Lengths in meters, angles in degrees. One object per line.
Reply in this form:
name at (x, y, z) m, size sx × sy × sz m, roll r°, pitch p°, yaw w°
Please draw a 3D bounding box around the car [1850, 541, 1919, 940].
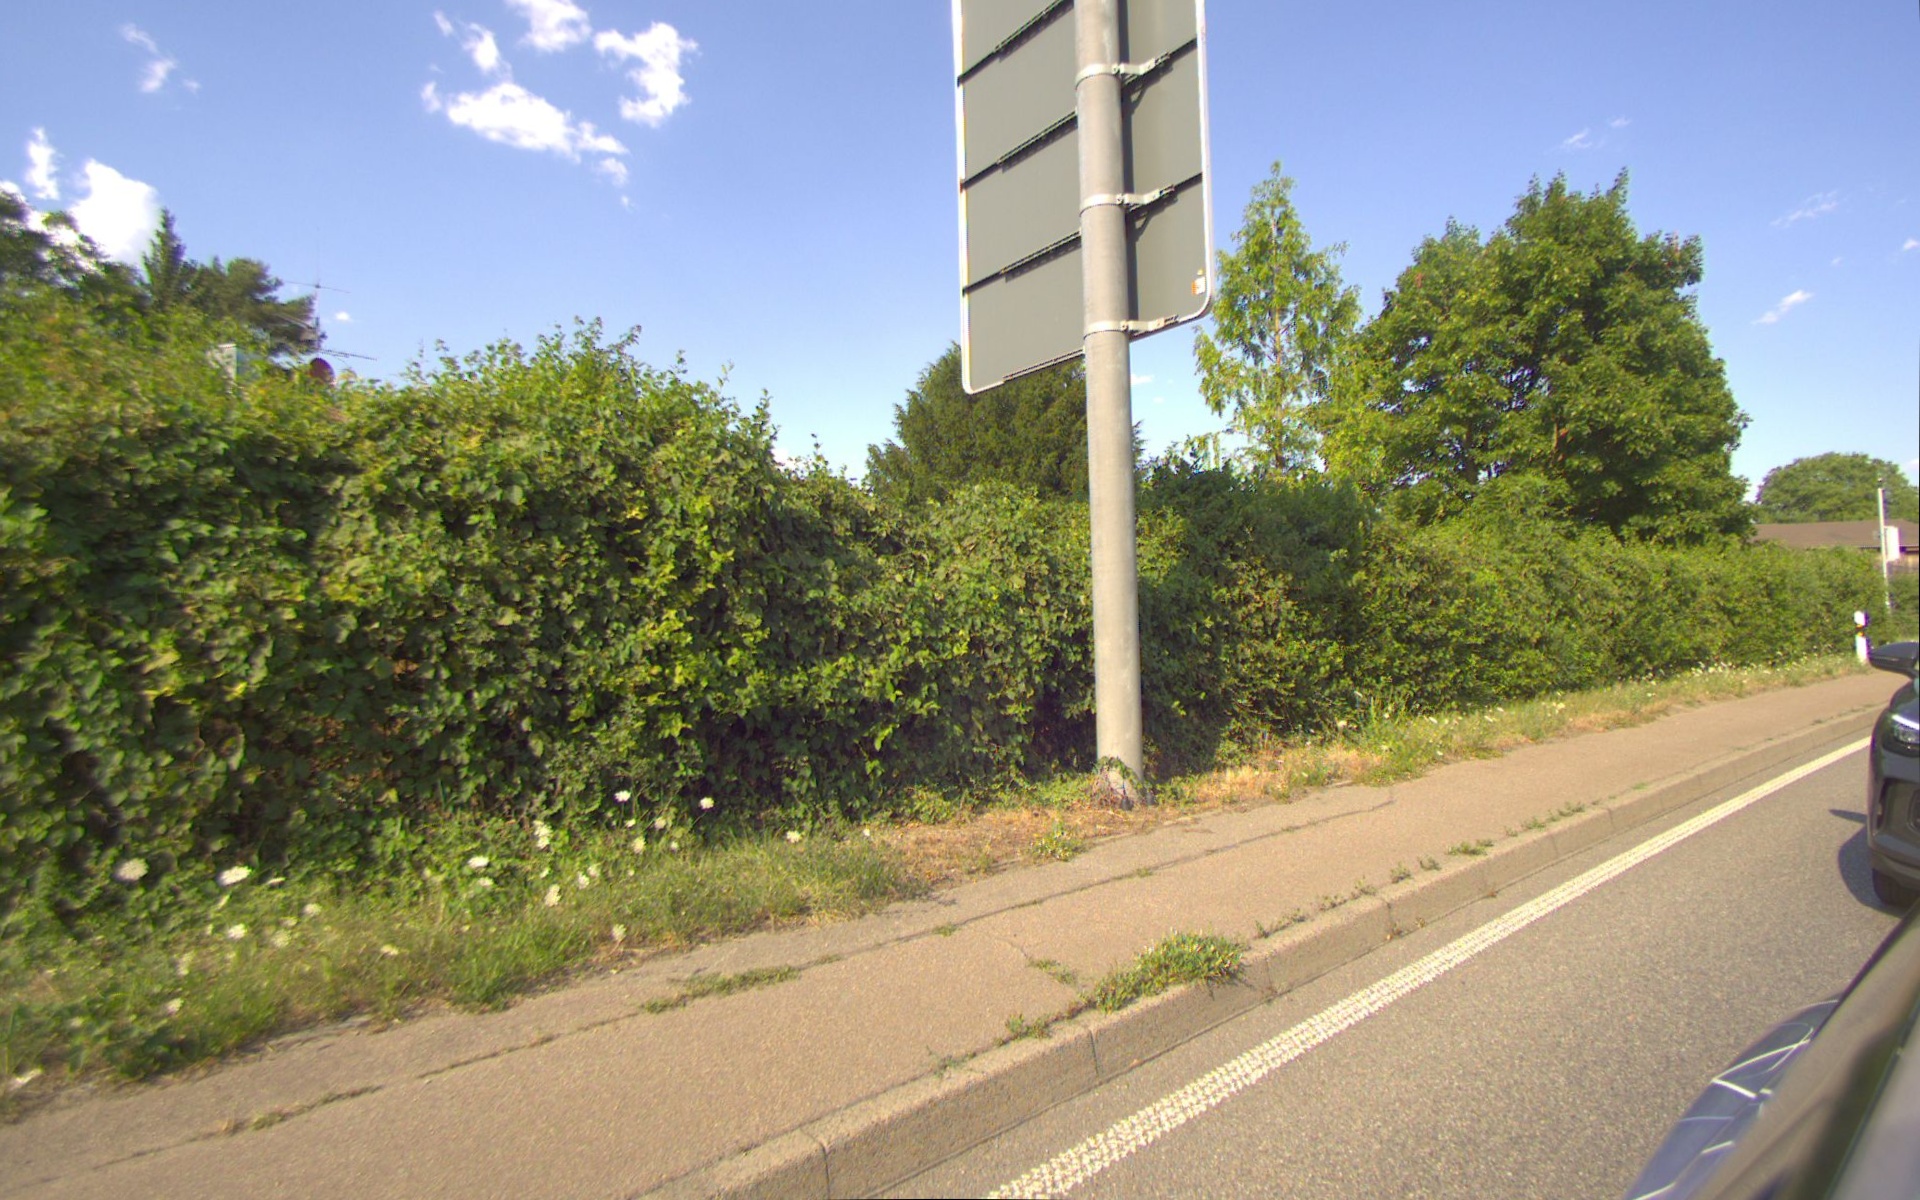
car at (5.932, 0.554, 4.950) m, size 3.931 × 1.662 × 1.864 m, roll -2°, pitch 2°, yaw -41°
